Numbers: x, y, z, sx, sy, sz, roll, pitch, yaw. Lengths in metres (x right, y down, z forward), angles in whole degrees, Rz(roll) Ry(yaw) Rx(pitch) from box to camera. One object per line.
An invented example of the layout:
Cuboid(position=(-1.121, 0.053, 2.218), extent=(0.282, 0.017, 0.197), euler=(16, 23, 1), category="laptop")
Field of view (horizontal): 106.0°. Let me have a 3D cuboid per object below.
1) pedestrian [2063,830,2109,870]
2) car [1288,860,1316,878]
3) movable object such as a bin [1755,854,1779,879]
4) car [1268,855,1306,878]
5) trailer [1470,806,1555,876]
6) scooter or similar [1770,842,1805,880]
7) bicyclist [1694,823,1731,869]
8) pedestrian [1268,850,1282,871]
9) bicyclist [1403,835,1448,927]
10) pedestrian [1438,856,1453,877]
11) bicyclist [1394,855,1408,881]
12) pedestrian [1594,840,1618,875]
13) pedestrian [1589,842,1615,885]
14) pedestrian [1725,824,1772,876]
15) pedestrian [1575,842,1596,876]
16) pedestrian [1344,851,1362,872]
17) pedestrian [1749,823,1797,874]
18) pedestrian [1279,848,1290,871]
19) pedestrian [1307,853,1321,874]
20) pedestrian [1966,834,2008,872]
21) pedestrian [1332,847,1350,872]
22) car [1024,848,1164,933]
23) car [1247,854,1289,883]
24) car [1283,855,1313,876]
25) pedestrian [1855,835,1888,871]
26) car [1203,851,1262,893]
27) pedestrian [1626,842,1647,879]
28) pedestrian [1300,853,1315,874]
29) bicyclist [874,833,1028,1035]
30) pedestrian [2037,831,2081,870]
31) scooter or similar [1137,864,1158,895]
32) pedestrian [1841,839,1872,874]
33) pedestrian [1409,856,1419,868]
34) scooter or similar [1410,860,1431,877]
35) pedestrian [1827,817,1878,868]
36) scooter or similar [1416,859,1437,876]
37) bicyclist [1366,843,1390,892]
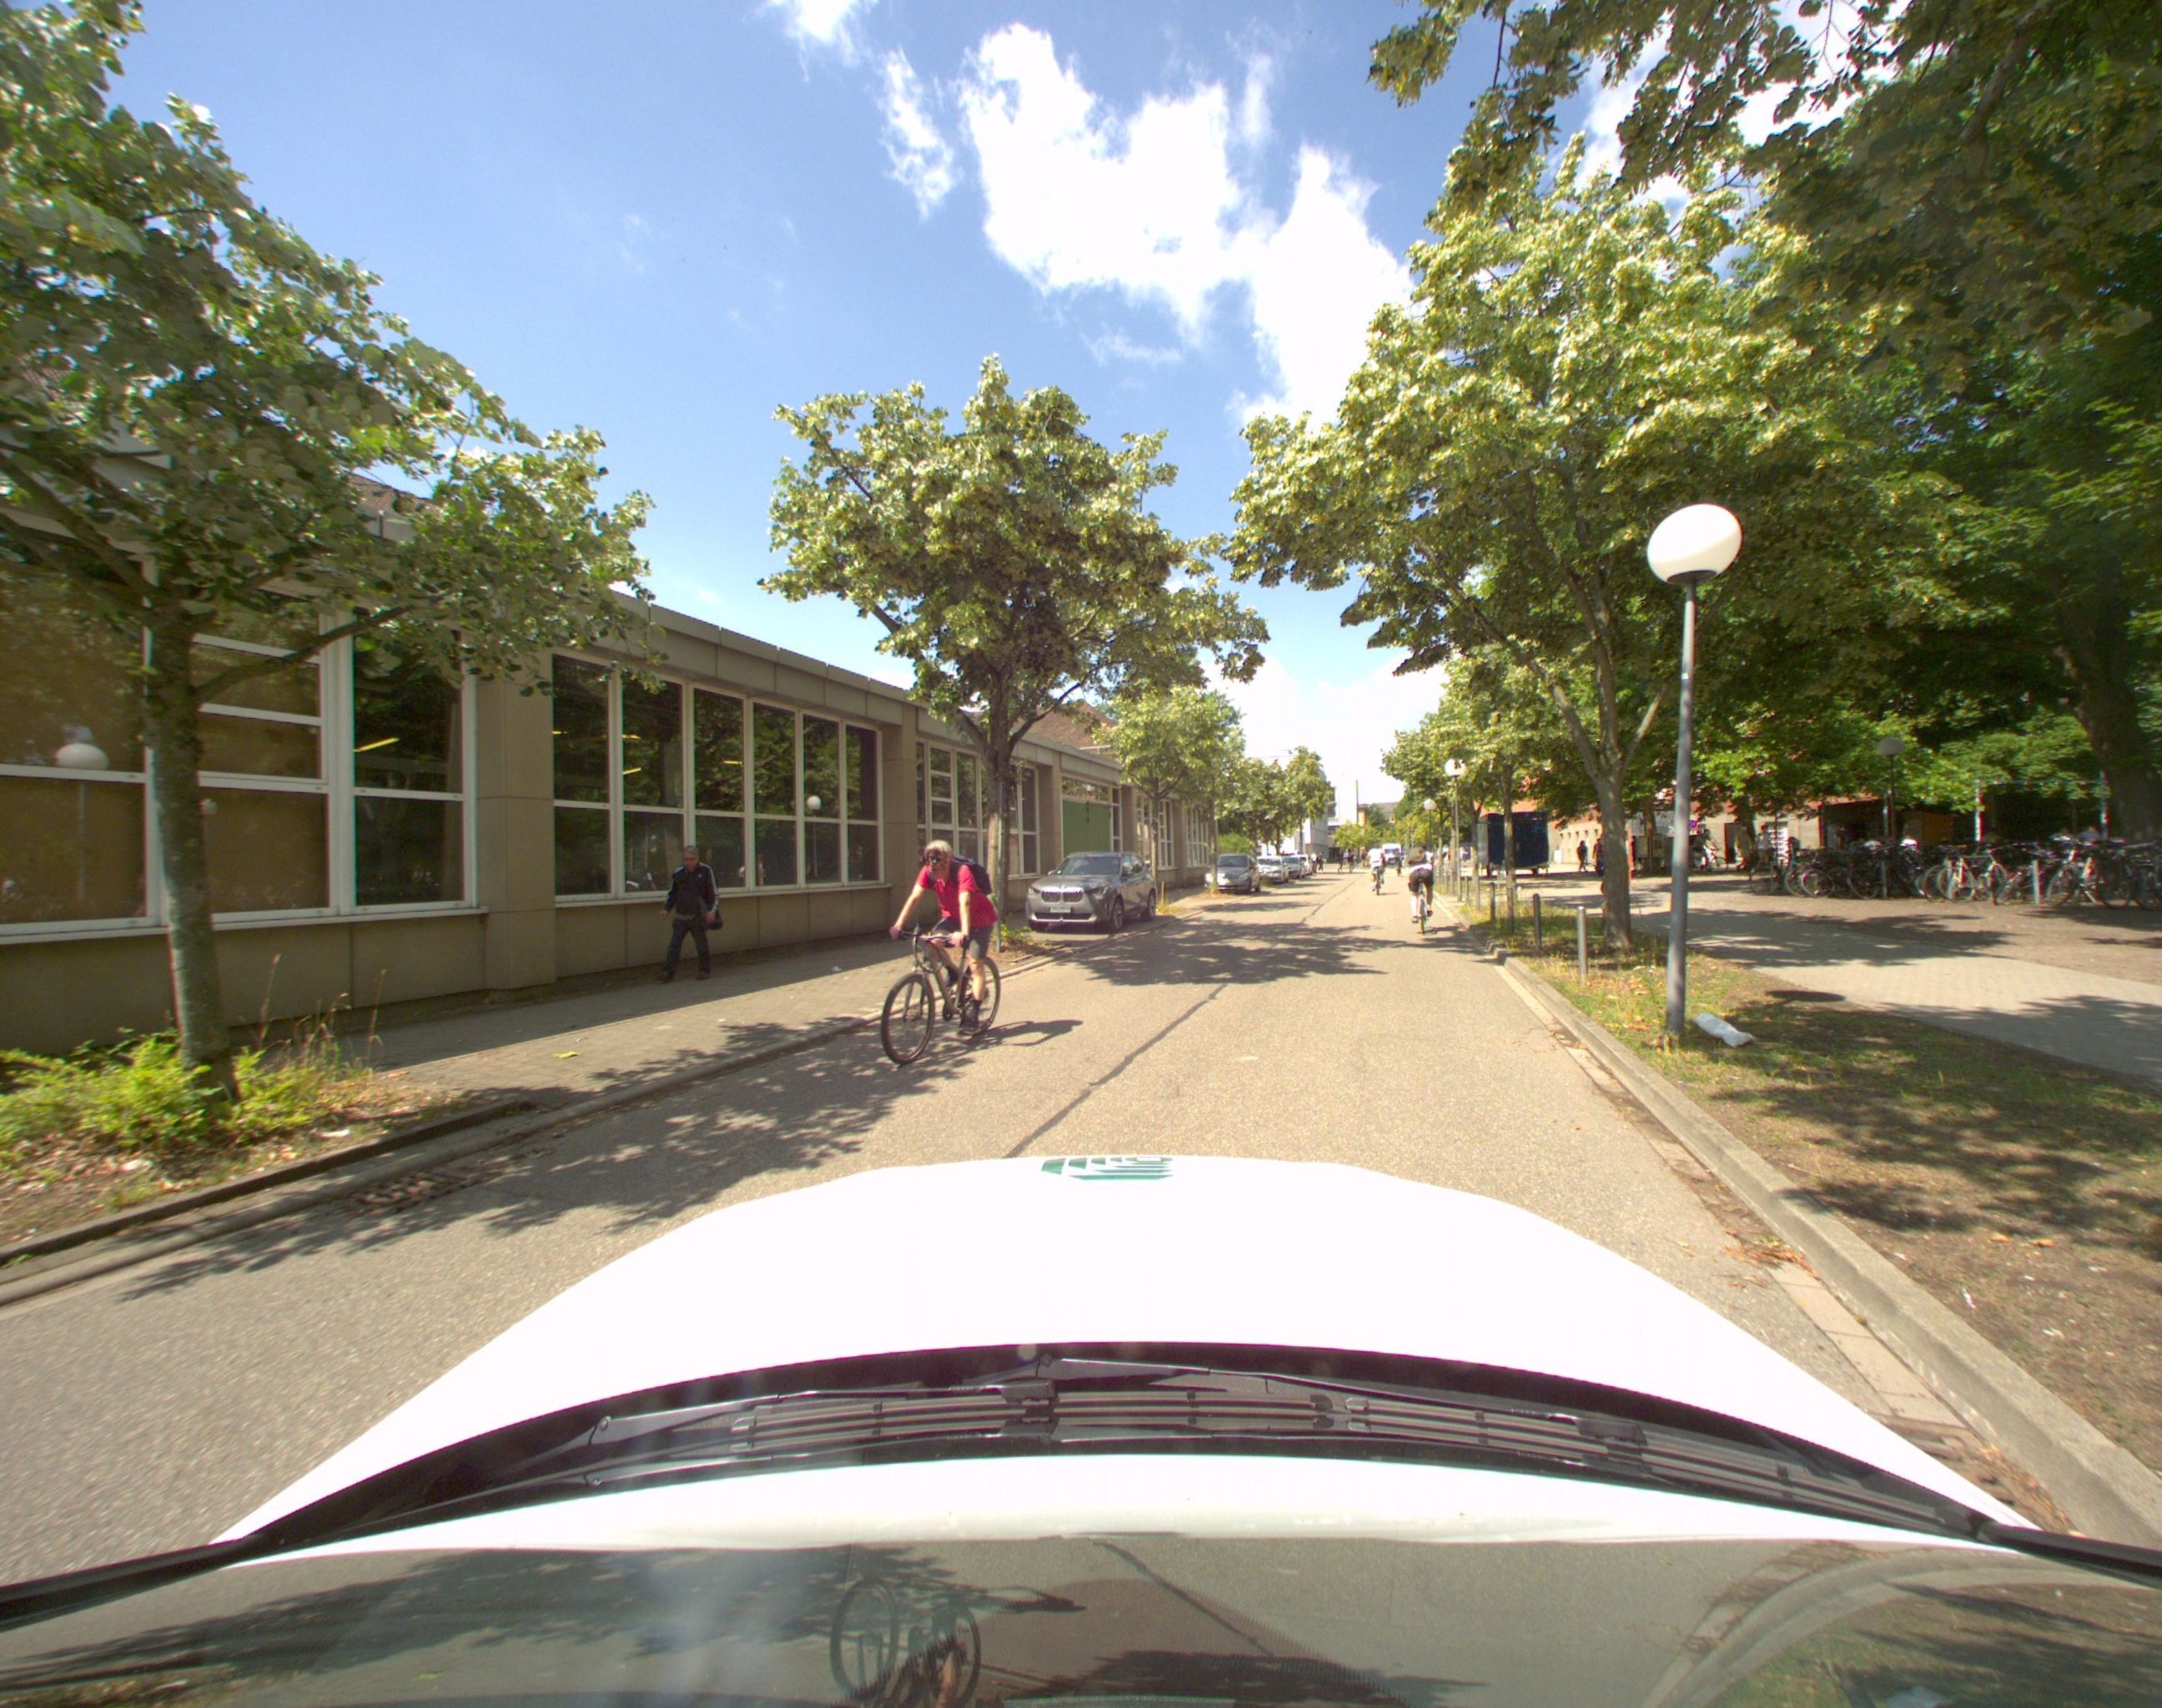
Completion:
Cuboid(position=(33.392, -0.120, 27.074), extent=(0.661, 1.271, 0.625), euler=(-4, -1, 16), category="pedestrian")
Cuboid(position=(17.173, 1.115, 63.122), extent=(1.631, 1.301, 3.948), euler=(-2, -1, 22), category="car")
Cuboid(position=(30.982, 0.578, 36.789), extent=(0.594, 1.071, 0.746), euler=(-1, -3, 21), category="movable object such as a bin")
Cuboid(position=(13.022, 0.746, 51.319), extent=(1.710, 1.343, 4.187), euler=(1, 0, 22), category="car")
Cuboid(position=(20.979, -0.532, 39.952), extent=(2.669, 3.052, 6.288), euler=(-3, -1, 20), category="trailer")
Cuboid(position=(23.408, 0.239, 27.003), extent=(0.420, 1.219, 1.301), euler=(-2, -2, 21), category="scooter or similar")
Cuboid(position=(24.854, -0.300, 32.087), extent=(0.528, 1.729, 1.079), euler=(-3, -1, 1), category="bicyclist")
Cuboid(position=(16.851, 0.531, 70.799), extent=(0.859, 1.772, 0.794), euler=(-1, 4, -43), category="pedestrian")
Cuboid(position=(6.546, 0.497, 15.516), extent=(0.711, 1.662, 1.100), euler=(1, 0, 20), category="bicyclist")
Cuboid(position=(29.988, 1.016, 66.955), extent=(0.950, 1.694, 0.709), euler=(3, 3, 31), category="pedestrian")
Cuboid(position=(21.504, 0.923, 54.733), extent=(0.801, 1.756, 0.696), euler=(-1, -1, 21), category="bicyclist")
Cuboid(position=(25.535, 0.185, 39.639), extent=(0.758, 1.661, 0.828), euler=(-2, -2, 21), category="pedestrian")
Cuboid(position=(19.651, 0.368, 30.742), extent=(0.563, 1.572, 0.932), euler=(-3, -3, 21), category="pedestrian")
Cuboid(position=(26.021, -0.156, 31.749), extent=(0.829, 1.949, 1.079), euler=(-3, -1, 0), category="pedestrian")
Cuboid(position=(24.775, 0.242, 39.992), extent=(0.691, 1.661, 0.792), euler=(-2, -2, 21), category="pedestrian")
Cuboid(position=(20.529, 0.569, 61.457), extent=(0.851, 1.595, 0.824), euler=(-2, -1, -22), category="pedestrian")
Cuboid(position=(26.961, -0.201, 31.759), extent=(0.829, 1.949, 1.079), euler=(-3, -1, 0), category="pedestrian")
Cuboid(position=(17.856, 0.477, 71.576), extent=(0.616, 1.980, 0.825), euler=(-1, -3, -11), category="pedestrian")
Cuboid(position=(19.505, 0.809, 68.087), extent=(0.681, 1.739, 0.899), euler=(0, -1, -32), category="pedestrian")
Cuboid(position=(33.177, -0.044, 29.830), extent=(0.661, 1.346, 0.722), euler=(-4, -1, 16), category="pedestrian")
Cuboid(position=(20.422, 0.412, 64.016), extent=(0.854, 1.859, 1.110), euler=(-4, 5, -17), category="pedestrian")
Cuboid(position=(0.450, 0.725, 18.163), extent=(1.807, 1.632, 4.538), euler=(1, 0, 18), category="car")
Cuboid(position=(10.027, 0.763, 43.426), extent=(1.711, 1.456, 4.605), euler=(1, 0, 19), category="car")
Cuboid(position=(15.279, 0.759, 57.177), extent=(1.648, 1.412, 3.826), euler=(0, 0, 20), category="car")
Cuboid(position=(30.840, -0.023, 31.780), extent=(0.565, 1.346, 0.732), euler=(-4, -1, 16), category="pedestrian")
Cuboid(position=(6.159, 0.713, 32.837), extent=(1.743, 1.556, 4.133), euler=(1, 0, 19), category="car")
Cuboid(position=(27.703, 0.308, 40.641), extent=(0.590, 1.797, 0.731), euler=(-4, 0, 17), category="pedestrian")
Cuboid(position=(18.828, 0.755, 67.695), extent=(0.703, 1.739, 0.973), euler=(1, -1, -33), category="pedestrian")
Cuboid(position=(-1.068, 0.632, 6.835), extent=(0.828, 1.543, 0.965), euler=(-3, -2, 25), category="bicyclist")
Cuboid(position=(33.531, -0.116, 27.938), extent=(0.661, 1.271, 0.625), euler=(-4, -1, 16), category="pedestrian")
Cuboid(position=(2.604, 0.978, 31.972), extent=(0.501, 1.169, 1.221), euler=(0, -1, 21), category="scooter or similar")
Cuboid(position=(31.079, 0.102, 32.643), extent=(0.565, 1.346, 0.732), euler=(-4, -1, 16), category="pedestrian")
Cuboid(position=(60.634, 1.437, 148.401), extent=(1.487, 1.996, 1.654), euler=(-4, -1, 19), category="pedestrian")
Cuboid(position=(25.203, 1.088, 60.487), extent=(0.654, 1.265, 1.250), euler=(-1, -1, -37), category="scooter or similar")
Cuboid(position=(27.877, -0.405, 29.444), extent=(0.951, 1.775, 0.923), euler=(-2, 0, 13), category="pedestrian")
Cuboid(position=(26.222, 1.025, 61.802), extent=(0.642, 1.265, 1.250), euler=(-1, -1, -37), category="scooter or similar")
Cuboid(position=(10.764, 0.475, 29.507), extent=(0.764, 1.756, 0.852), euler=(1, 0, 20), category="bicyclist")
